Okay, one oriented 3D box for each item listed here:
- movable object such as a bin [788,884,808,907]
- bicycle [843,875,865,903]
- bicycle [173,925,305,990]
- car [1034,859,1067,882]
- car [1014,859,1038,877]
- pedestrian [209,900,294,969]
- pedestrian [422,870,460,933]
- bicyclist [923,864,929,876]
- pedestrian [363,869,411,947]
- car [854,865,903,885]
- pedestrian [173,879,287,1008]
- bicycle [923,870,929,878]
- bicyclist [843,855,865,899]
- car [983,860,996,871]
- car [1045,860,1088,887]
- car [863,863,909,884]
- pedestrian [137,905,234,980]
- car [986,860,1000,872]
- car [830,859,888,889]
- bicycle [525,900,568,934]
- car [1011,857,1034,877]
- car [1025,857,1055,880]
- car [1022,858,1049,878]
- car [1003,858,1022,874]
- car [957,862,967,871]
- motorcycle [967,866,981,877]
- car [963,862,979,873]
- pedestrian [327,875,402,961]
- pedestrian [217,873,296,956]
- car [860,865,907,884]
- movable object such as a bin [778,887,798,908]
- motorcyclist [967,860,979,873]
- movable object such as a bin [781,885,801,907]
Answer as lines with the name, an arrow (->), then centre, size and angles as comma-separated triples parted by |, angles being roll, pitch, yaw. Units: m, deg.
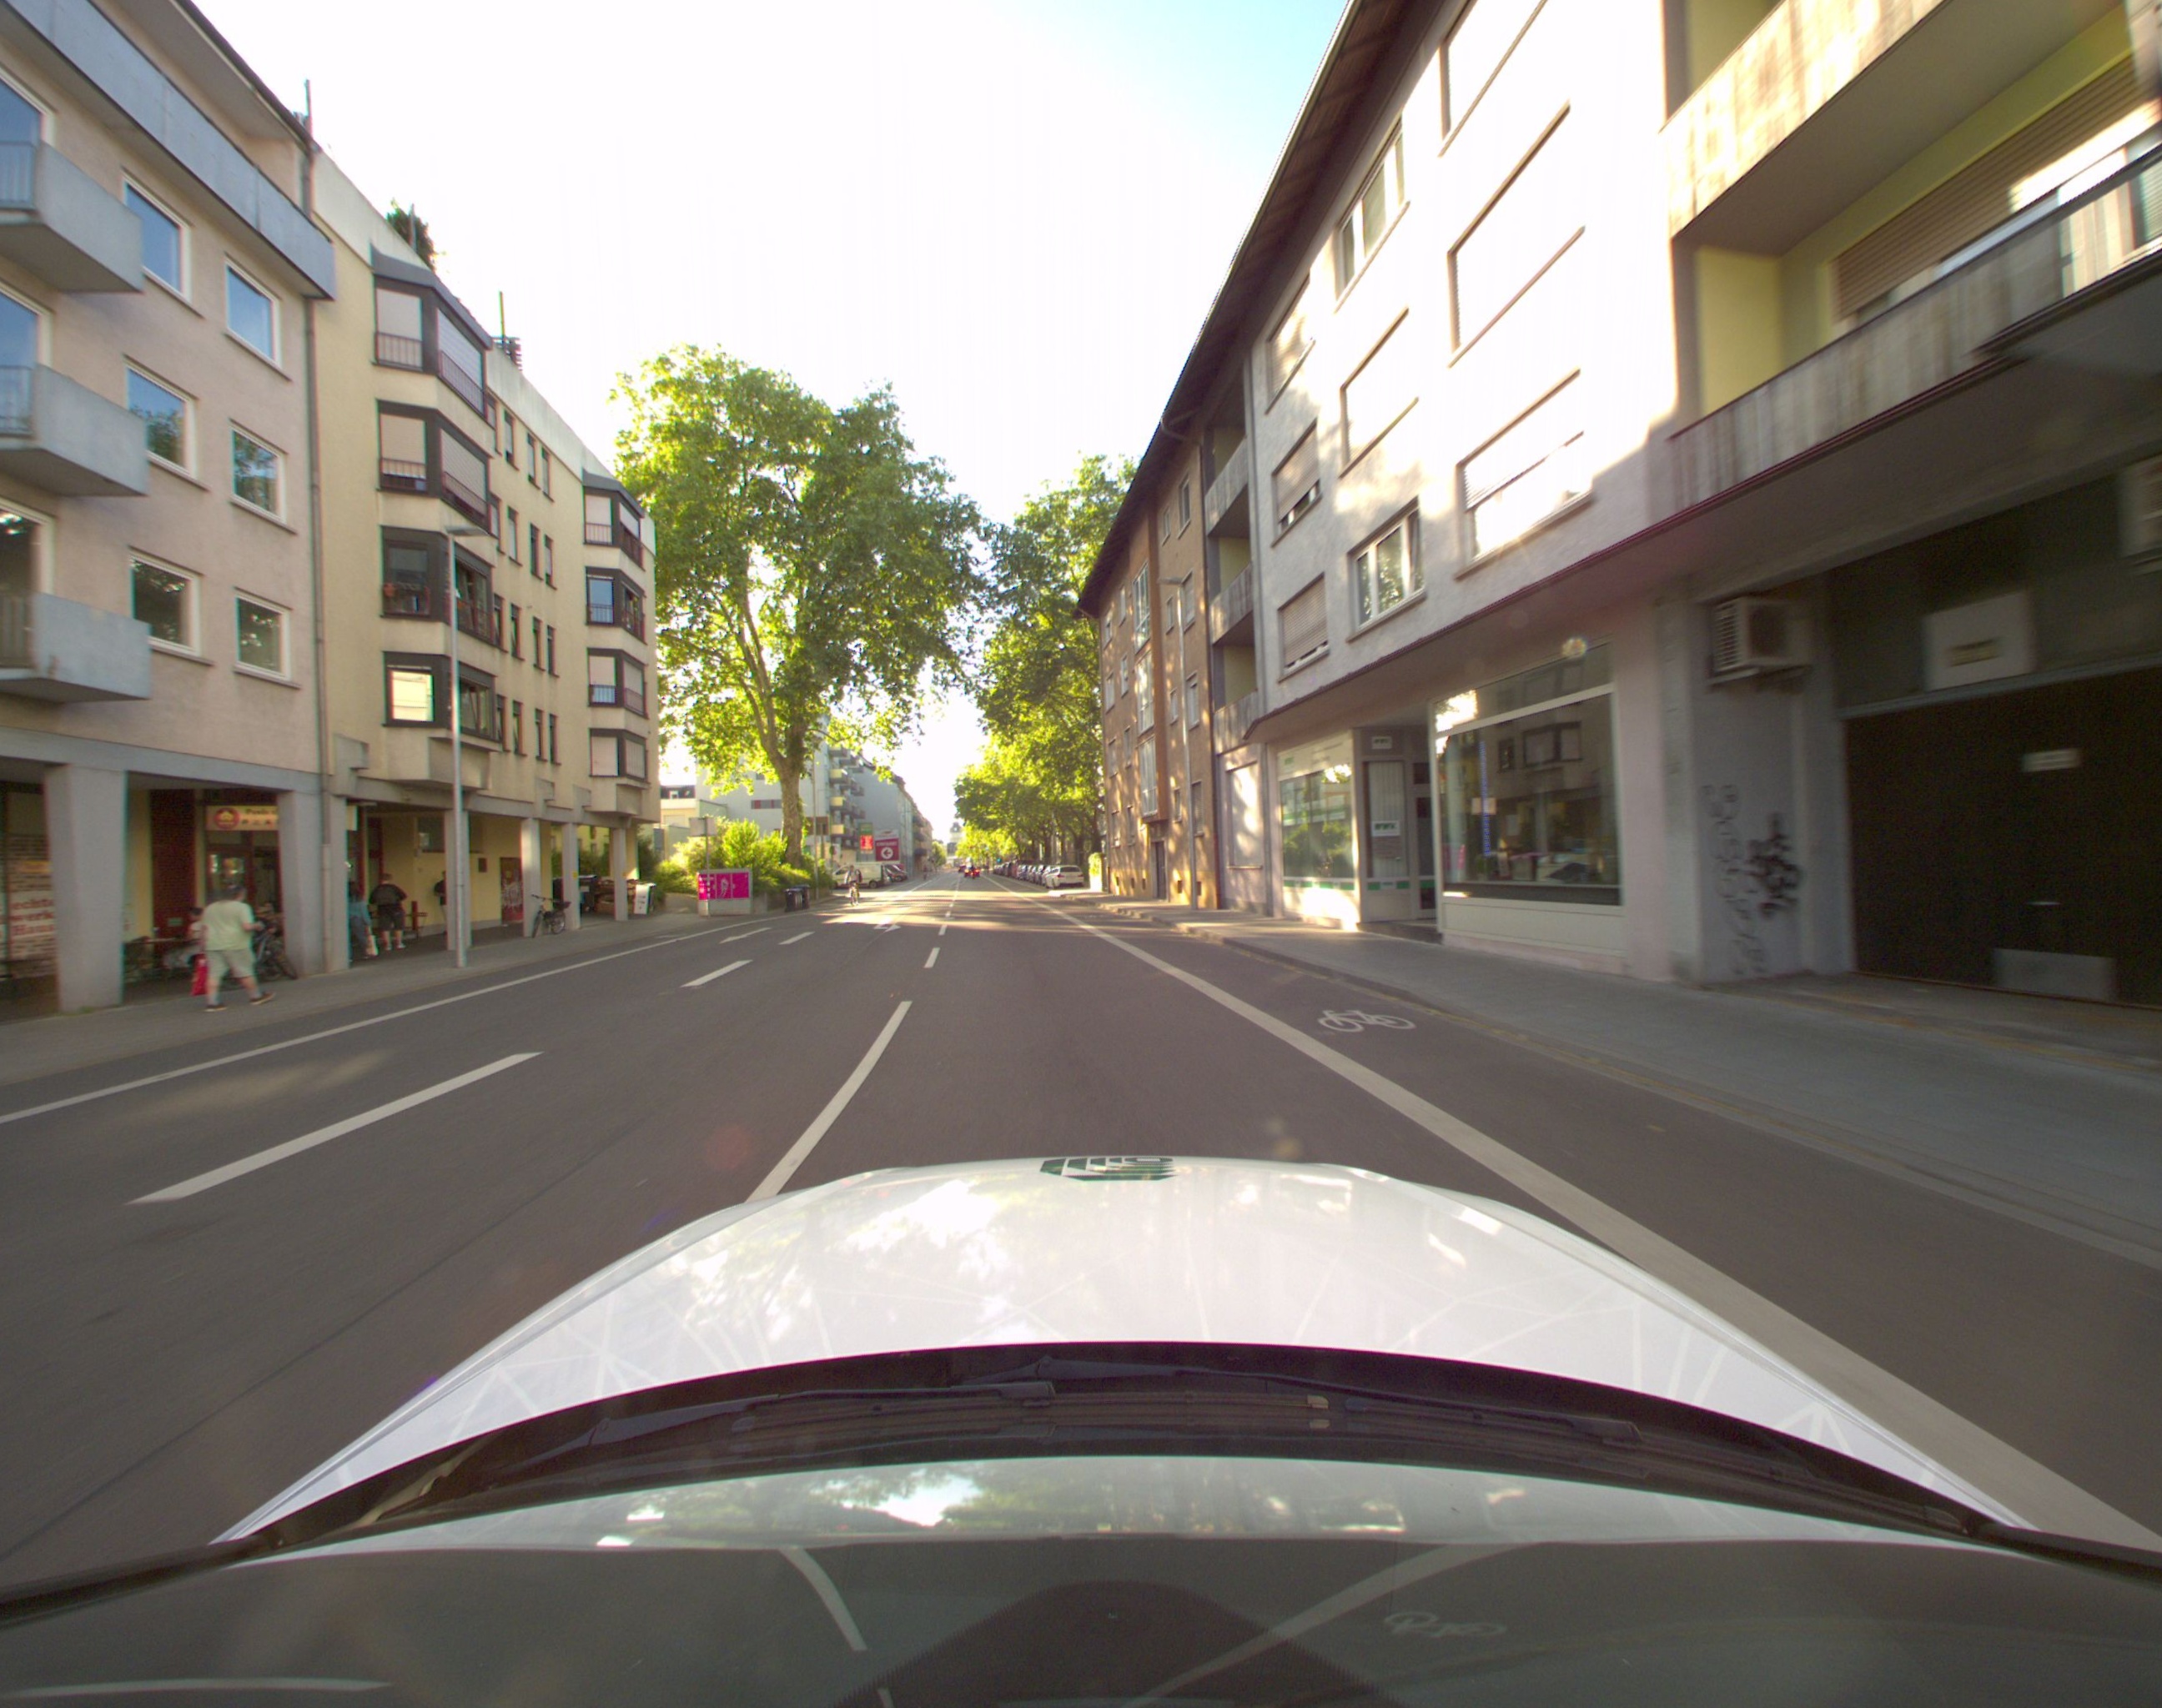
movable object such as a bin -> -12.416, 1.812, 35.766 | 0.702, 0.965, 0.595 | 0, 0, -9
bicycle -> -10.170, 1.564, 36.525 | 0.816, 1.139, 2.328 | -2, 0, -13
bicycle -> -14.226, 1.722, 13.824 | 0.632, 0.884, 1.613 | -2, 0, -5
car -> -2.322, 1.216, 61.034 | 2.032, 1.617, 4.081 | -2, 0, -9
car -> -5.552, 1.389, 81.707 | 2.032, 1.719, 4.081 | -2, 0, -9
pedestrian -> -16.550, 1.588, 16.273 | 0.831, 1.265, 0.852 | -1, -1, -8
pedestrian -> -17.838, 1.306, 22.707 | 0.581, 1.724, 0.622 | -1, -1, -9
bicyclist -> -17.709, 1.820, 92.925 | 0.542, 1.394, 0.506 | -2, -1, -14
pedestrian -> -16.496, 1.275, 19.369 | 0.614, 1.795, 0.653 | -1, -1, -12
car -> -17.587, 1.801, 70.992 | 3.989, 1.596, 1.992 | -2, 0, -11
pedestrian -> -12.058, 1.228, 11.565 | 0.806, 1.724, 0.773 | -1, -1, -12
bicycle -> -17.674, 2.281, 92.850 | 0.542, 0.843, 1.597 | -2, 0, -14
bicyclist -> -10.206, 1.020, 36.623 | 0.816, 1.947, 0.854 | -2, -1, -13
car -> -15.403, 1.966, 136.611 | 2.032, 1.742, 4.081 | -2, 0, -9
car -> -0.934, 1.189, 49.708 | 2.032, 1.504, 4.081 | -2, 0, -9
car -> -18.198, 1.797, 76.227 | 3.989, 1.743, 1.992 | -2, 0, -11
pedestrian -> -16.531, 1.611, 15.057 | 0.831, 1.265, 0.852 | -1, -1, -8
car -> -13.910, 1.889, 128.722 | 2.032, 1.742, 4.081 | -2, 0, -9
car -> -17.786, 1.572, 65.375 | 4.305, 2.226, 1.992 | -2, -1, -12
bicycle -> -15.078, 1.762, 23.015 | 0.389, 0.878, 1.607 | 1, -1, -10
car -> -6.214, 1.342, 85.889 | 2.032, 1.934, 4.081 | -2, 0, -9
car -> -3.399, 1.150, 66.822 | 2.032, 1.759, 4.081 | -2, 0, -9
car -> -4.114, 1.247, 72.905 | 2.032, 1.719, 4.081 | -2, 0, -9
car -> -8.211, 1.390, 97.252 | 2.032, 1.742, 4.081 | -2, 0, -9
car -> -24.731, 2.586, 169.518 | 2.032, 1.742, 4.081 | -2, 0, -9
motorcycle -> -11.515, 1.835, 87.392 | 0.976, 1.131, 2.788 | -1, 0, -18
car -> -13.776, 1.670, 101.671 | 1.923, 1.388, 3.988 | -2, 0, -9
pedestrian -> -15.079, 1.323, 17.162 | 0.852, 1.724, 0.831 | -1, -1, -12
pedestrian -> -17.854, 1.289, 17.654 | 0.828, 1.724, 0.855 | -1, -1, 4
car -> -17.797, 1.836, 73.657 | 3.989, 1.596, 1.992 | -2, 0, -11
movable object such as a bin -> -12.267, 1.816, 34.067 | 0.685, 0.852, 0.578 | 0, 0, -9
motorcyclist -> -11.588, 1.360, 87.434 | 0.974, 1.347, 1.129 | -1, 0, -21
movable object such as a bin -> -12.349, 1.788, 34.687 | 0.685, 0.907, 0.578 | 0, 0, -9
